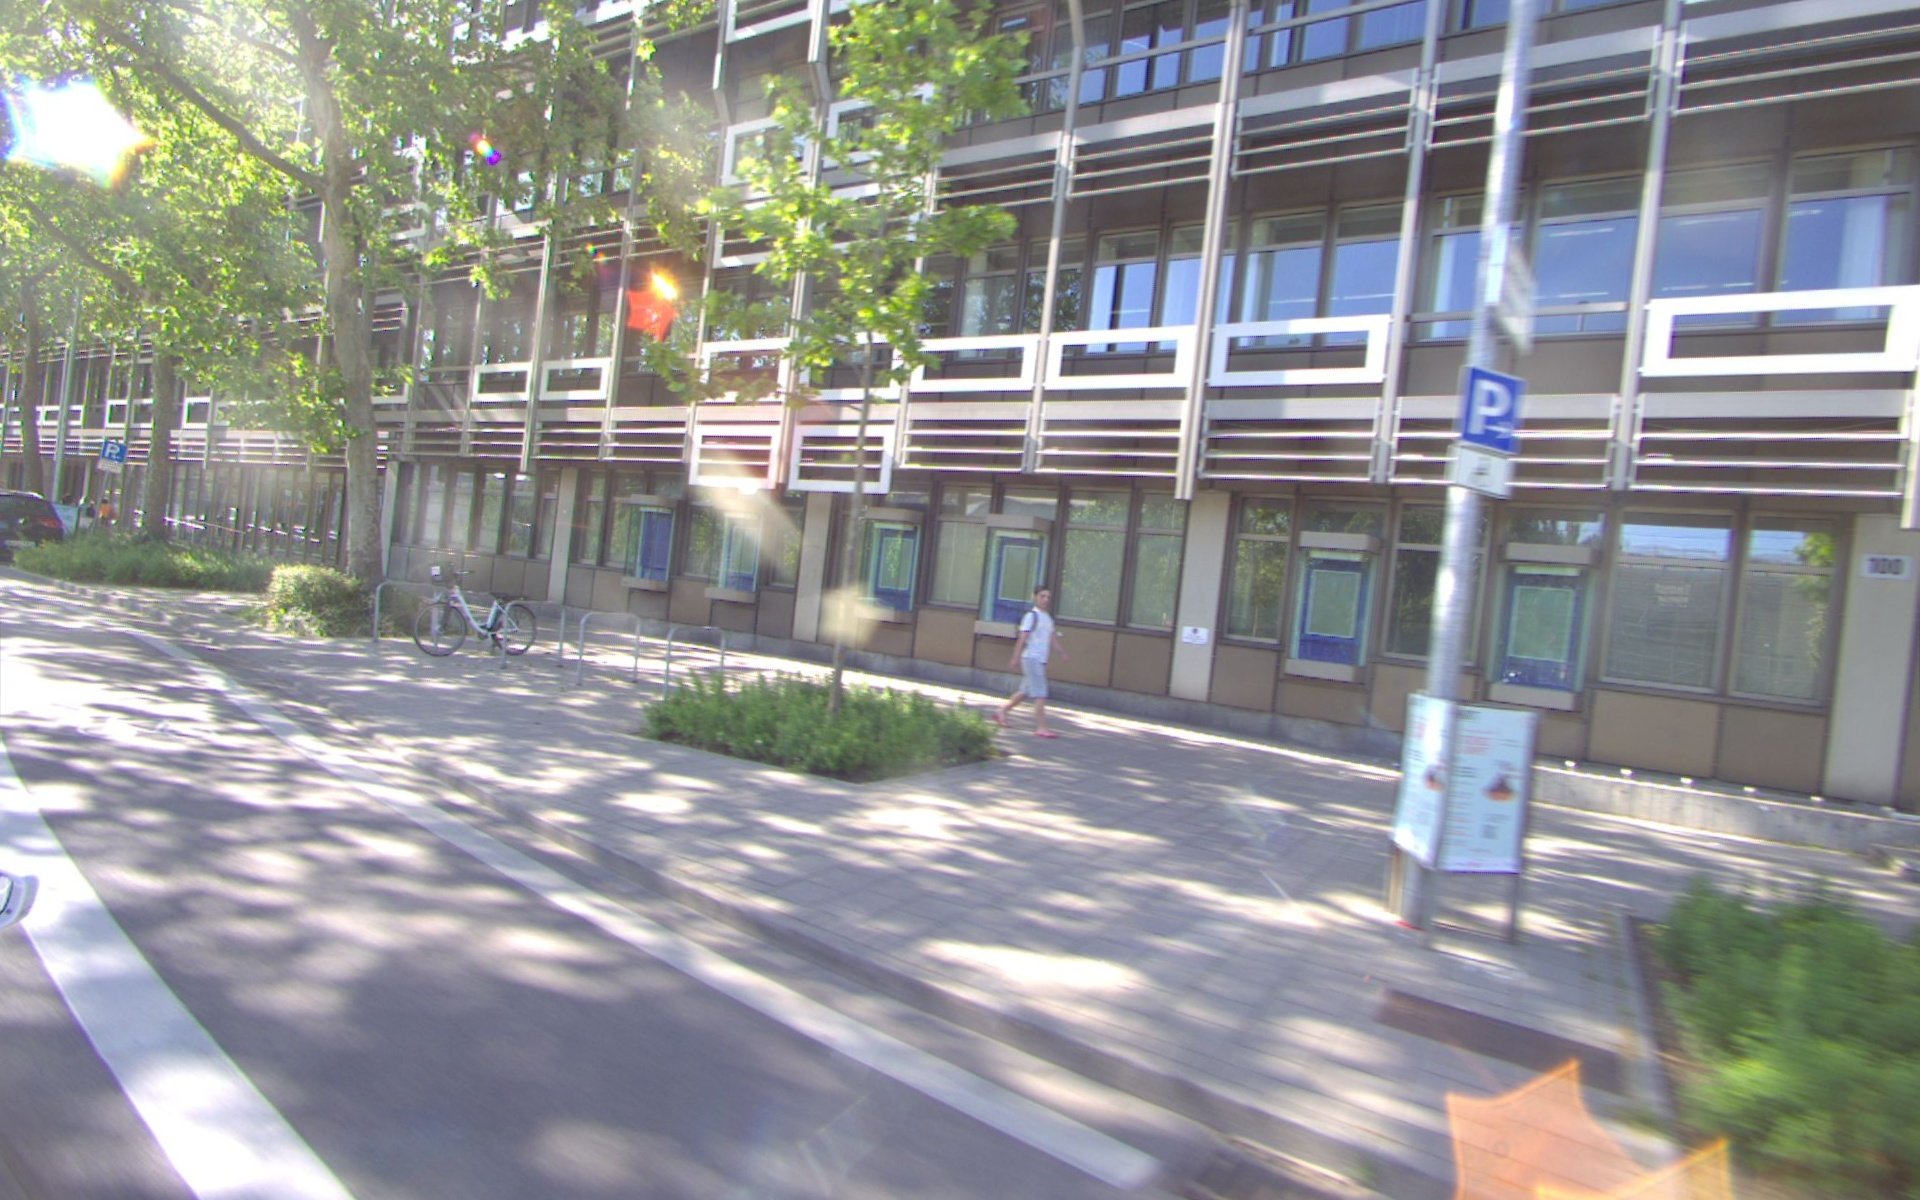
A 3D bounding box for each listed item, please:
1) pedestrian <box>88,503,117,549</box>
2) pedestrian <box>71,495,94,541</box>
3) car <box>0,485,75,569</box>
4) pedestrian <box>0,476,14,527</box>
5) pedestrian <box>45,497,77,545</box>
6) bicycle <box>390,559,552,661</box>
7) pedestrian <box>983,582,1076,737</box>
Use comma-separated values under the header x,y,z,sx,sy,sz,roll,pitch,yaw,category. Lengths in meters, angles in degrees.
x,y,z,sx,sy,sz,roll,pitch,yaw,category
-31.615,-2.730,37.086,0.564,1.622,0.554,7,0,33,pedestrian
-31.885,-2.973,36.553,0.492,1.604,0.316,7,0,24,pedestrian
-22.112,-1.795,22.976,4.563,1.663,1.705,7,-1,35,car
-37.760,-3.873,39.451,0.548,1.938,0.678,6,-2,33,pedestrian
-32.245,-2.827,36.091,0.624,1.604,0.507,7,0,24,pedestrian
-6.625,0.148,13.730,0.569,1.253,1.938,7,2,30,bicycle
0.823,0.701,11.951,0.761,1.721,0.511,7,0,32,pedestrian
